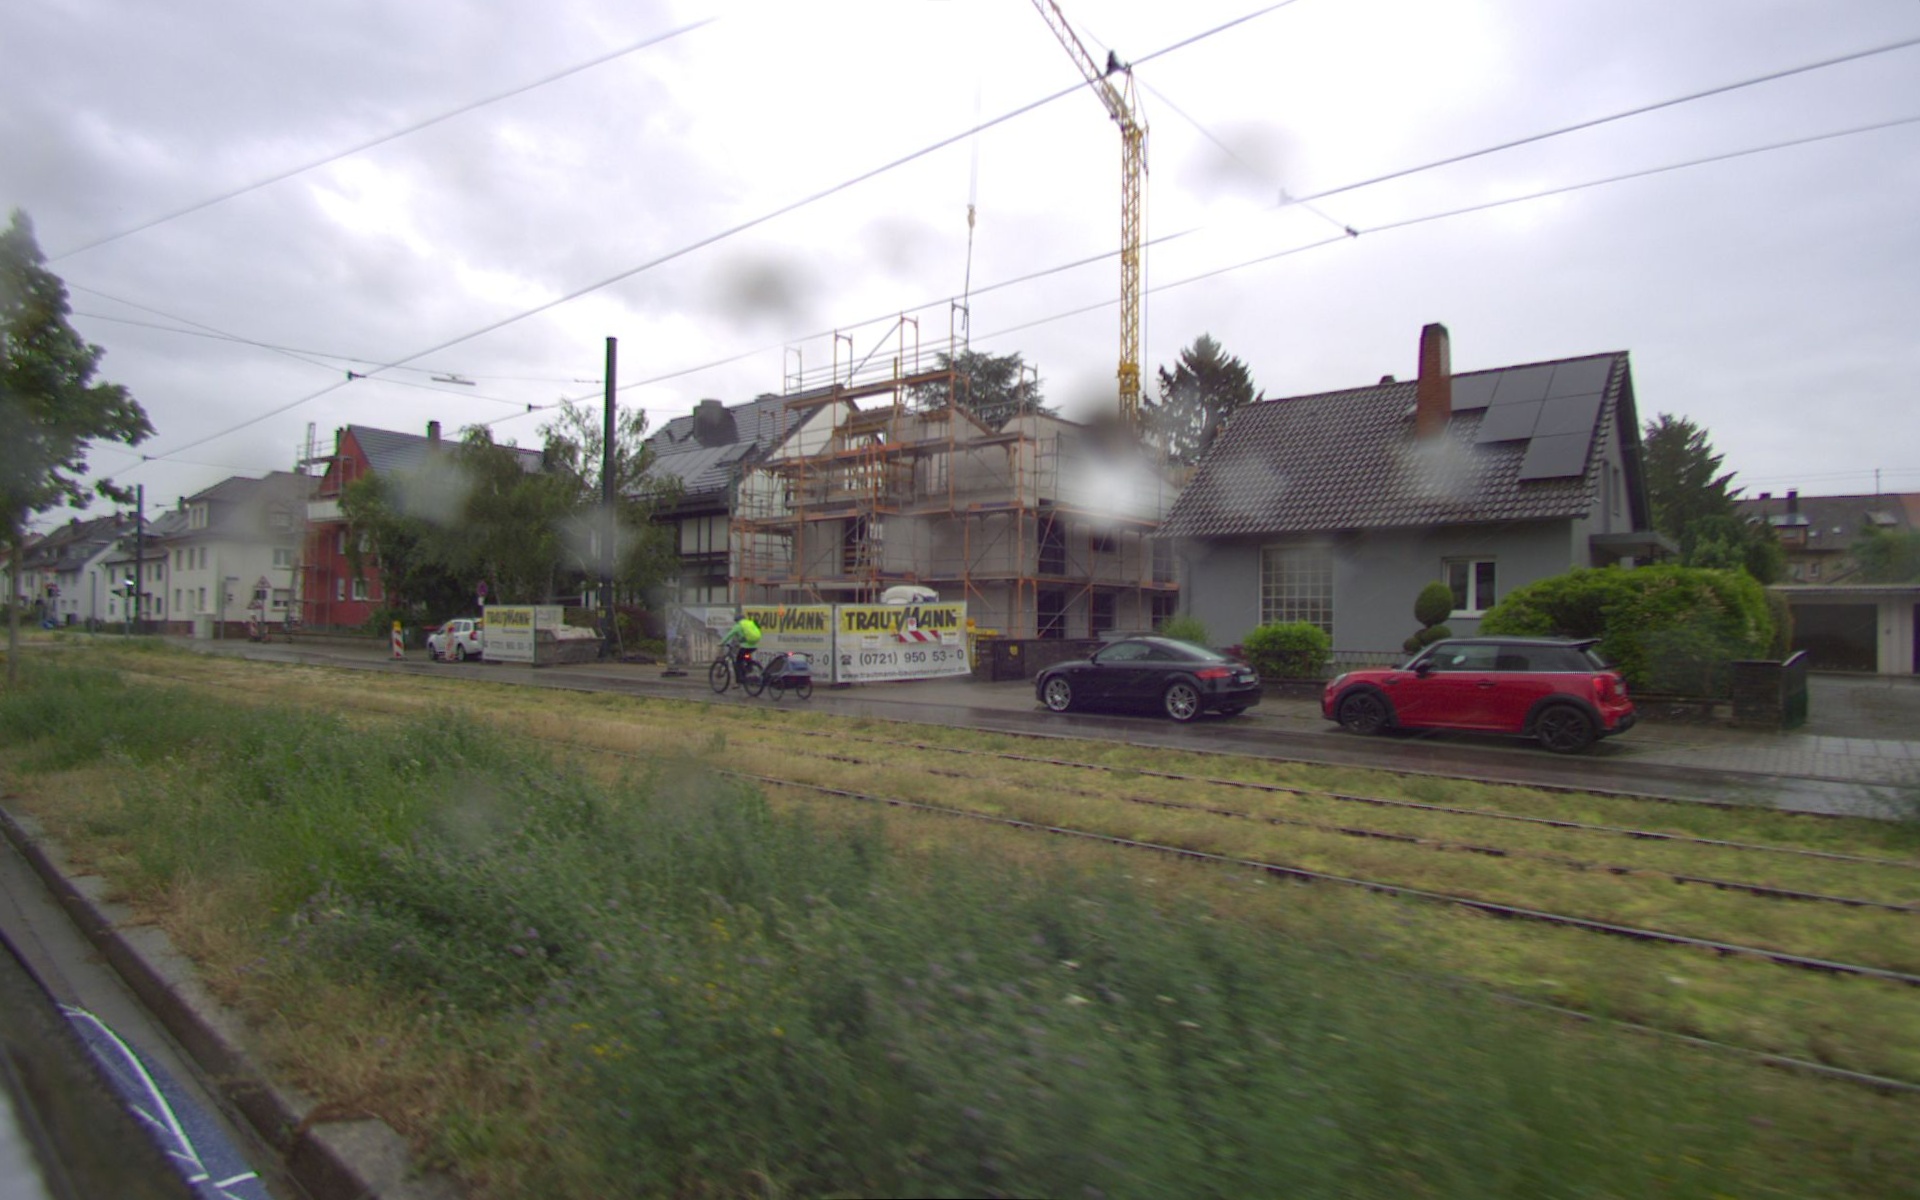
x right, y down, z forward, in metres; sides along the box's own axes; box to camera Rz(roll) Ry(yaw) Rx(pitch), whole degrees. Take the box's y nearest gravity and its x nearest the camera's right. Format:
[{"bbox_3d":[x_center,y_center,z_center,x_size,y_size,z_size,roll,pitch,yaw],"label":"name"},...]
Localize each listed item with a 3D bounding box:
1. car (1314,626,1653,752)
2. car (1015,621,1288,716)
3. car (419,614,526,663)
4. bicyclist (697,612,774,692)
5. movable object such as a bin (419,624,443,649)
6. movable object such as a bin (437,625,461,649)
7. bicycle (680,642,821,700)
[{"bbox_3d":[7.184,1.116,14.047,3.841,1.383,1.973,0,0,41],"label":"car"},{"bbox_3d":[3.204,1.114,17.396,4.171,1.420,1.973,-2,-2,41],"label":"car"},{"bbox_3d":[-18.102,1.376,37.485,4.247,1.640,1.974,0,0,39],"label":"car"},{"bbox_3d":[-4.732,1.056,21.322,1.399,1.596,0.943,0,0,41],"label":"bicyclist"},{"bbox_3d":[-25.878,1.785,49.525,0.821,1.156,0.802,0,0,41],"label":"movable object such as a bin"},{"bbox_3d":[-25.333,1.841,50.174,0.821,1.156,0.802,0,0,41],"label":"movable object such as a bin"},{"bbox_3d":[-4.404,1.432,21.015,3.431,1.051,0.925,-1,-2,40],"label":"bicycle"}]
